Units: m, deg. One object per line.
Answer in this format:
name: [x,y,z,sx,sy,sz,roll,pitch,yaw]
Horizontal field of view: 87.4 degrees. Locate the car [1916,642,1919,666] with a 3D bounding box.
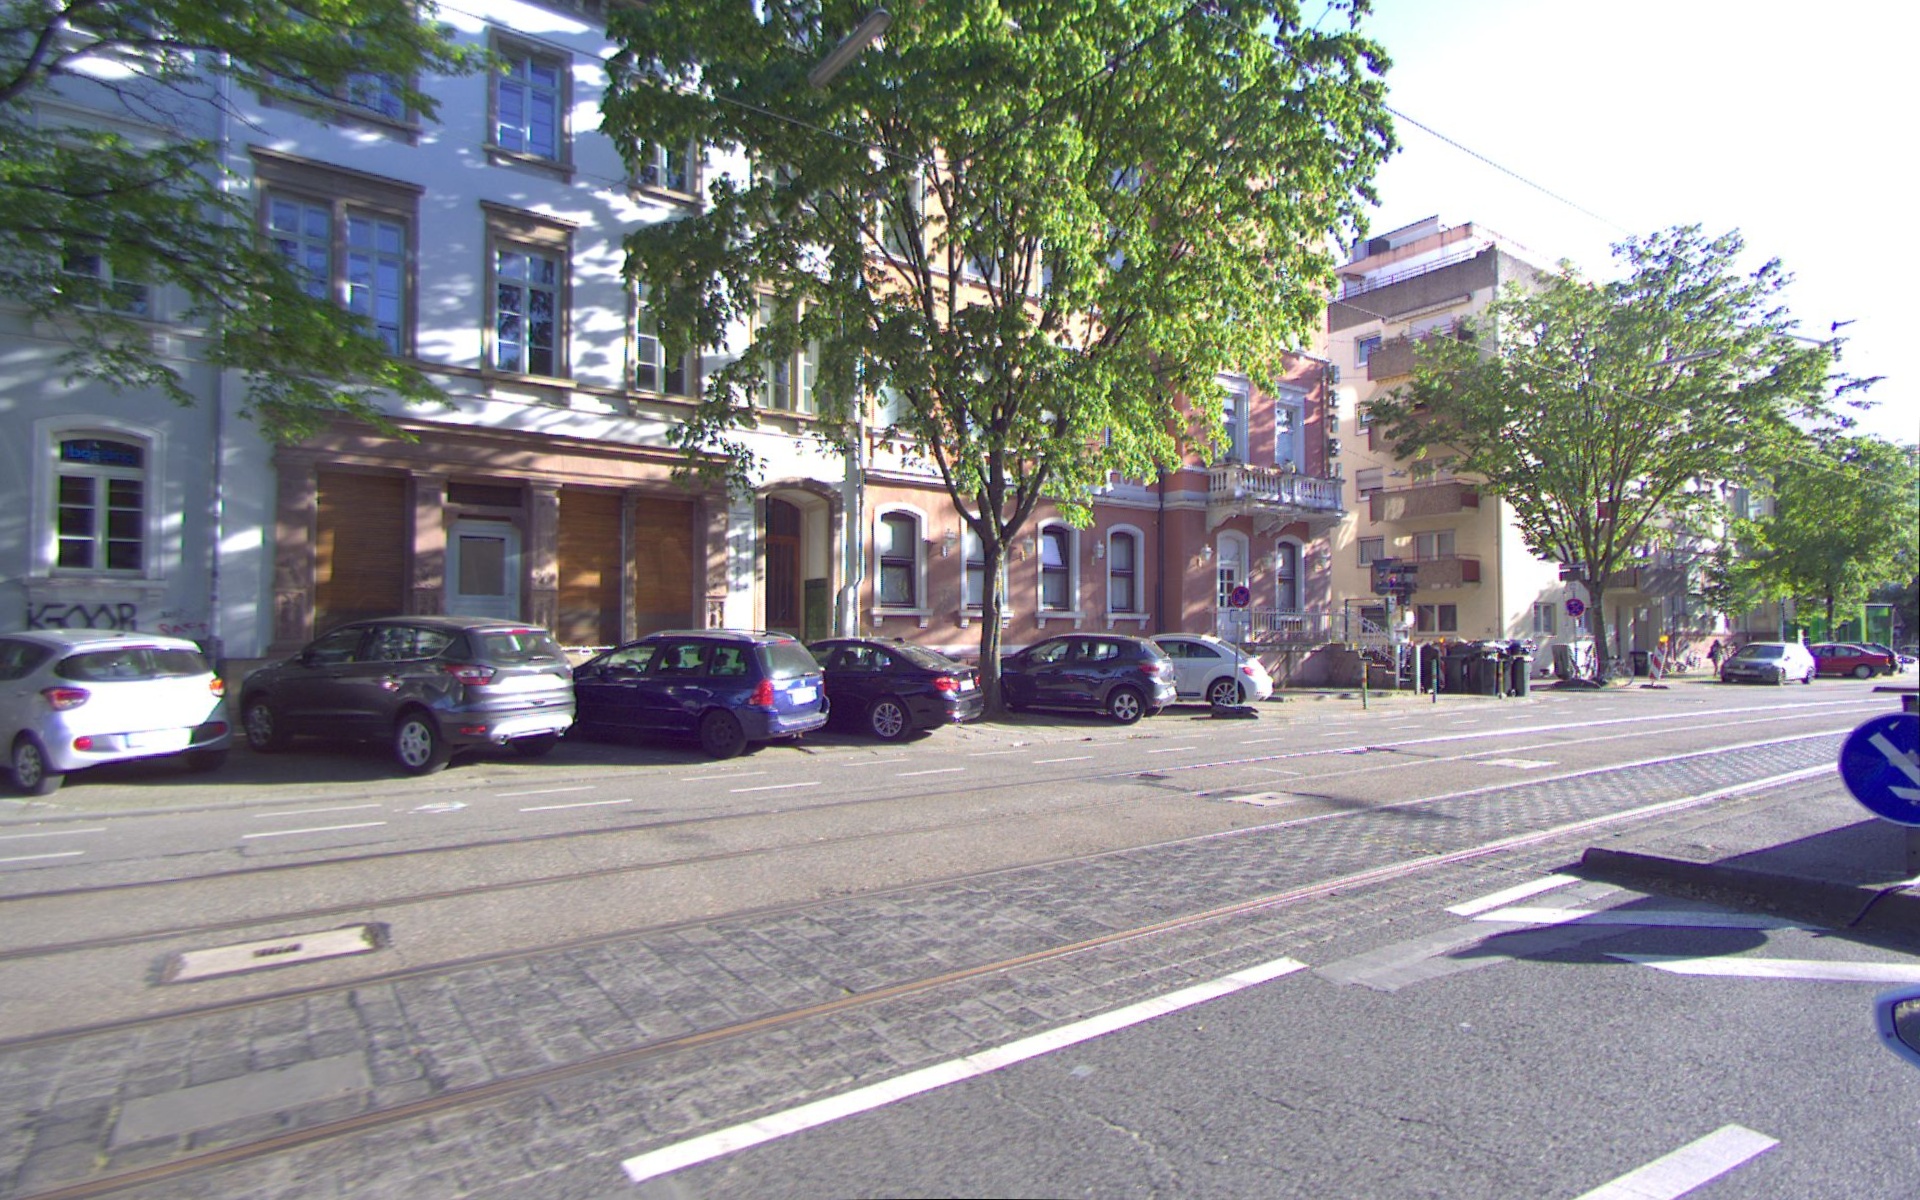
car: [56.018,3.070,55.474,4.442,1.368,1.585,0,-2,36]

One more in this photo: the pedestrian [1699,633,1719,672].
pedestrian: [33.016,2.312,44.285,0.484,1.693,0.508,1,-2,-29]

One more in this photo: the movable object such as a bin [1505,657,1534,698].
movable object such as a bin: [15.254,2.102,27.375,0.630,1.082,0.379,1,-2,-23]

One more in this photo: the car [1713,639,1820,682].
car: [29.369,2.179,36.566,4.243,1.429,1.697,2,-1,-31]

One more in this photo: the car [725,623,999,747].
car: [-1.520,1.243,15.717,3.907,1.638,1.635,1,0,20]

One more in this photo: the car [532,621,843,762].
car: [-3.762,1.169,13.925,3.907,1.638,1.635,1,0,20]

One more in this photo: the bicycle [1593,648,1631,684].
bicycle: [20.760,2.107,31.976,1.385,1.131,0.263,1,-2,-23]

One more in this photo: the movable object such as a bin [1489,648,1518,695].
movable object such as a bin: [14.659,1.921,27.103,0.630,1.258,0.379,1,-2,-23]

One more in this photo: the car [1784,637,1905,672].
car: [44.558,2.721,50.715,4.442,1.590,1.585,0,-2,36]

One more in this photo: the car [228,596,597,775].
car: [-6.718,0.935,12.299,4.204,1.745,1.707,2,-1,24]

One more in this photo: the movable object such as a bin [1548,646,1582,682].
movable object such as a bin: [19.697,2.073,32.697,1.133,1.141,0.423,2,-3,-29]

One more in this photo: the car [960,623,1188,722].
car: [2.105,1.263,18.590,3.847,1.528,1.688,2,0,24]

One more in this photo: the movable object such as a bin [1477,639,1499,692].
movable object such as a bin: [14.679,1.809,27.932,0.380,1.445,0.379,1,-2,-23]

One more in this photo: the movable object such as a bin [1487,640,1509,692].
movable object such as a bin: [15.111,1.851,28.211,0.382,1.445,0.379,1,-2,-23]

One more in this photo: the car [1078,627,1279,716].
car: [4.511,1.411,20.658,3.839,1.542,1.736,2,0,19]

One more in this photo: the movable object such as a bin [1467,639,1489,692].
movable object such as a bin: [14.307,1.802,27.739,0.382,1.445,0.379,1,-2,-23]

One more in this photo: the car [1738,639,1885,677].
car: [36.435,2.474,43.124,4.430,1.444,1.872,1,-2,25]

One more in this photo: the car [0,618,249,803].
car: [-9.474,1.041,10.672,3.218,1.553,1.706,2,0,24]

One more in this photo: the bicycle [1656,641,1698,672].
bicycle: [33.536,2.632,46.965,2.983,1.416,0.712,2,-3,-37]

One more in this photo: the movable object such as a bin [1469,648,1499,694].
movable object such as a bin: [14.031,1.901,26.900,0.630,1.218,0.379,1,-2,-23]

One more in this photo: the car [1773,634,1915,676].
car: [39.037,2.424,44.480,4.428,1.663,1.590,1,-2,23]

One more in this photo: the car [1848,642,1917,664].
car: [68.913,3.939,75.108,1.501,1.526,3.522,1,-2,-24]
